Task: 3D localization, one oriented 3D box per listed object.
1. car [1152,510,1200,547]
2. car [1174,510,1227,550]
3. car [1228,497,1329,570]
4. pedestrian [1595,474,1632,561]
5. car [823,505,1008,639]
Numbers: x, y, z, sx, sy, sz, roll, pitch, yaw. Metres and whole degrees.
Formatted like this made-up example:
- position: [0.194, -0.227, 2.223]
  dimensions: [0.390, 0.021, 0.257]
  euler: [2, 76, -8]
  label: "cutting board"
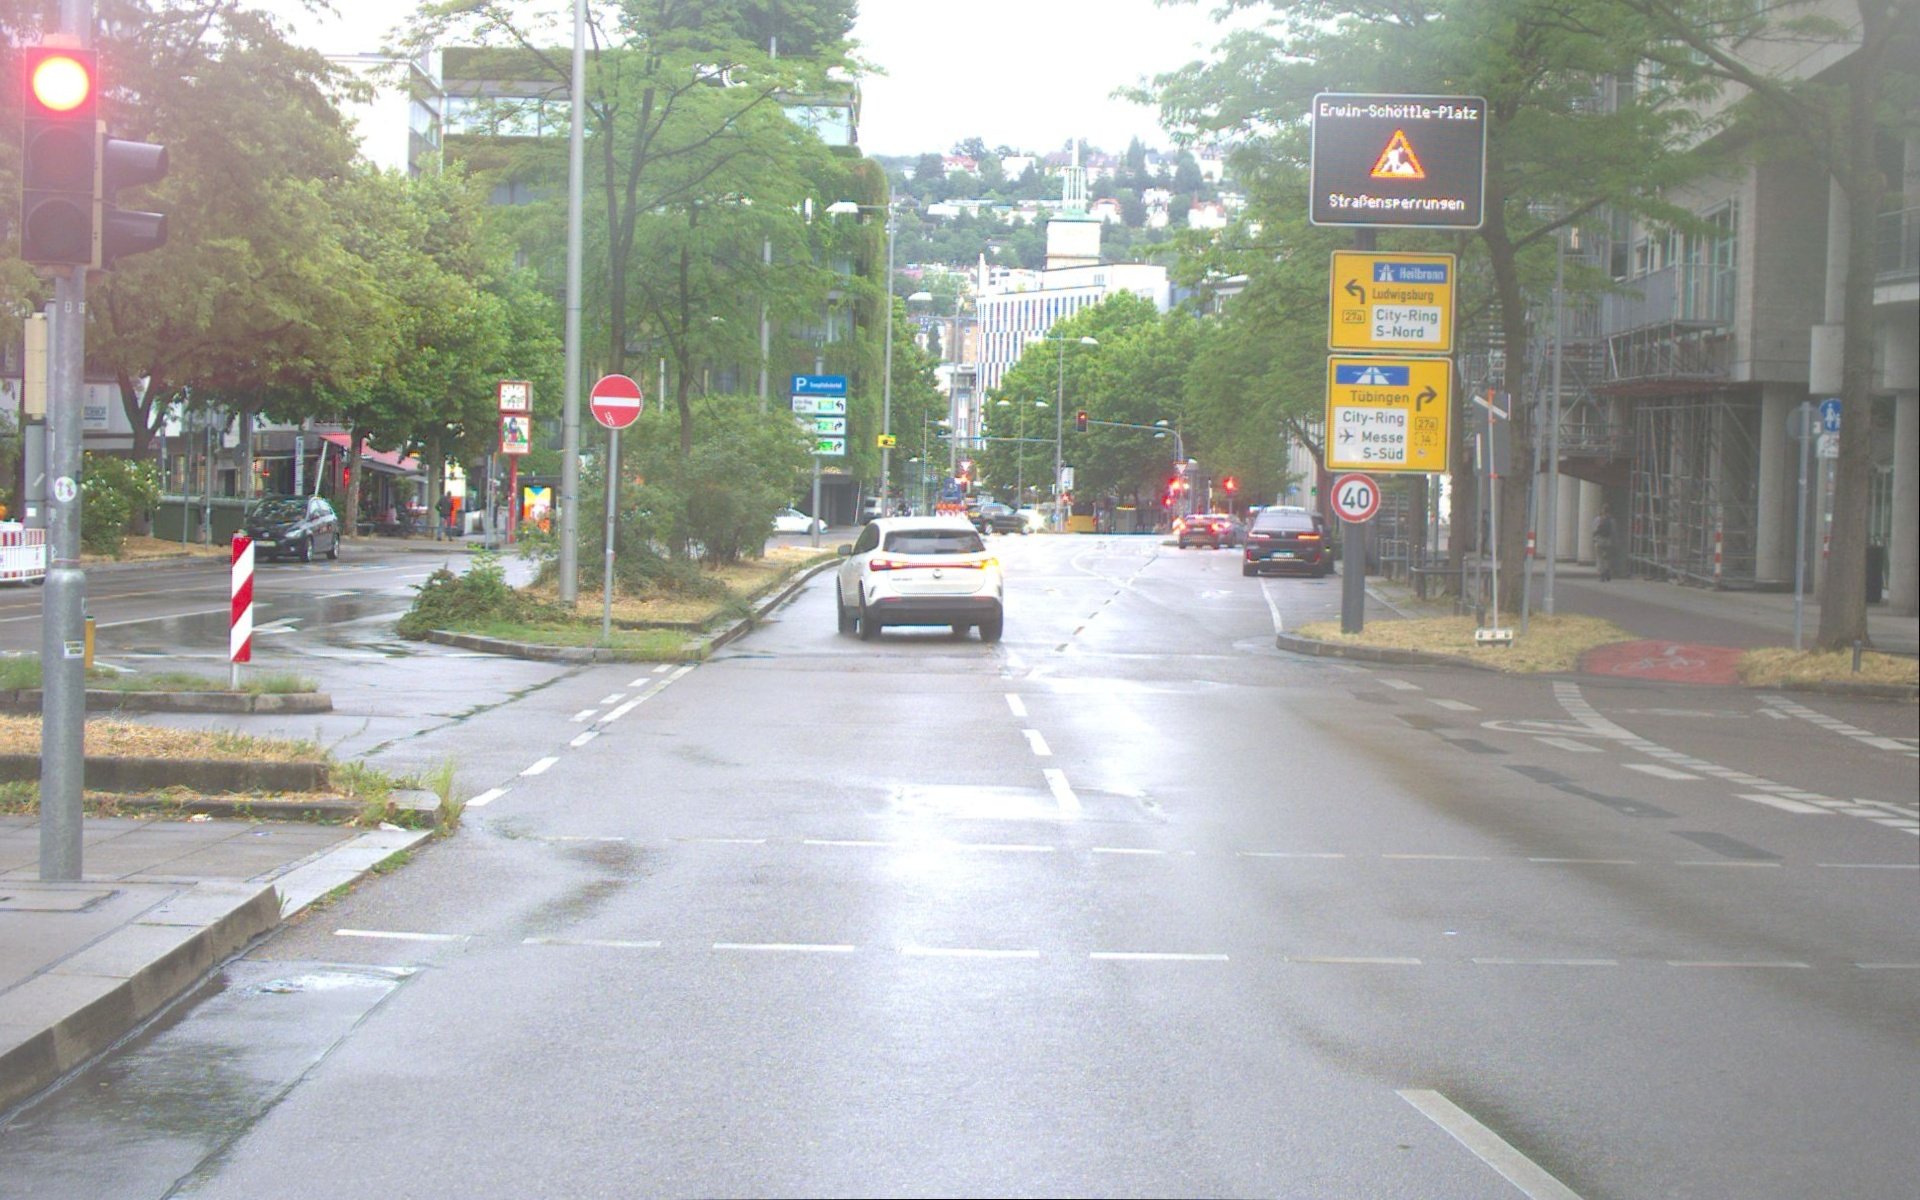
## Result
- position: [10.458, -3.452, 166.789]
  dimensions: [1.993, 1.730, 4.000]
  euler: [1, 0, -1]
  label: "car"
- position: [10.754, -3.126, 153.935]
  dimensions: [1.993, 1.718, 4.000]
  euler: [1, 0, -1]
  label: "car"
- position: [7.759, -1.627, 83.413]
  dimensions: [2.339, 1.685, 3.999]
  euler: [1, 2, 6]
  label: "car"
- position: [14.619, -1.840, 76.882]
  dimensions: [0.775, 1.914, 0.702]
  euler: [1, 0, 10]
  label: "pedestrian"
- position: [-0.646, -0.403, 45.942]
  dimensions: [1.828, 1.634, 4.302]
  euler: [2, 1, -9]
  label: "car"
